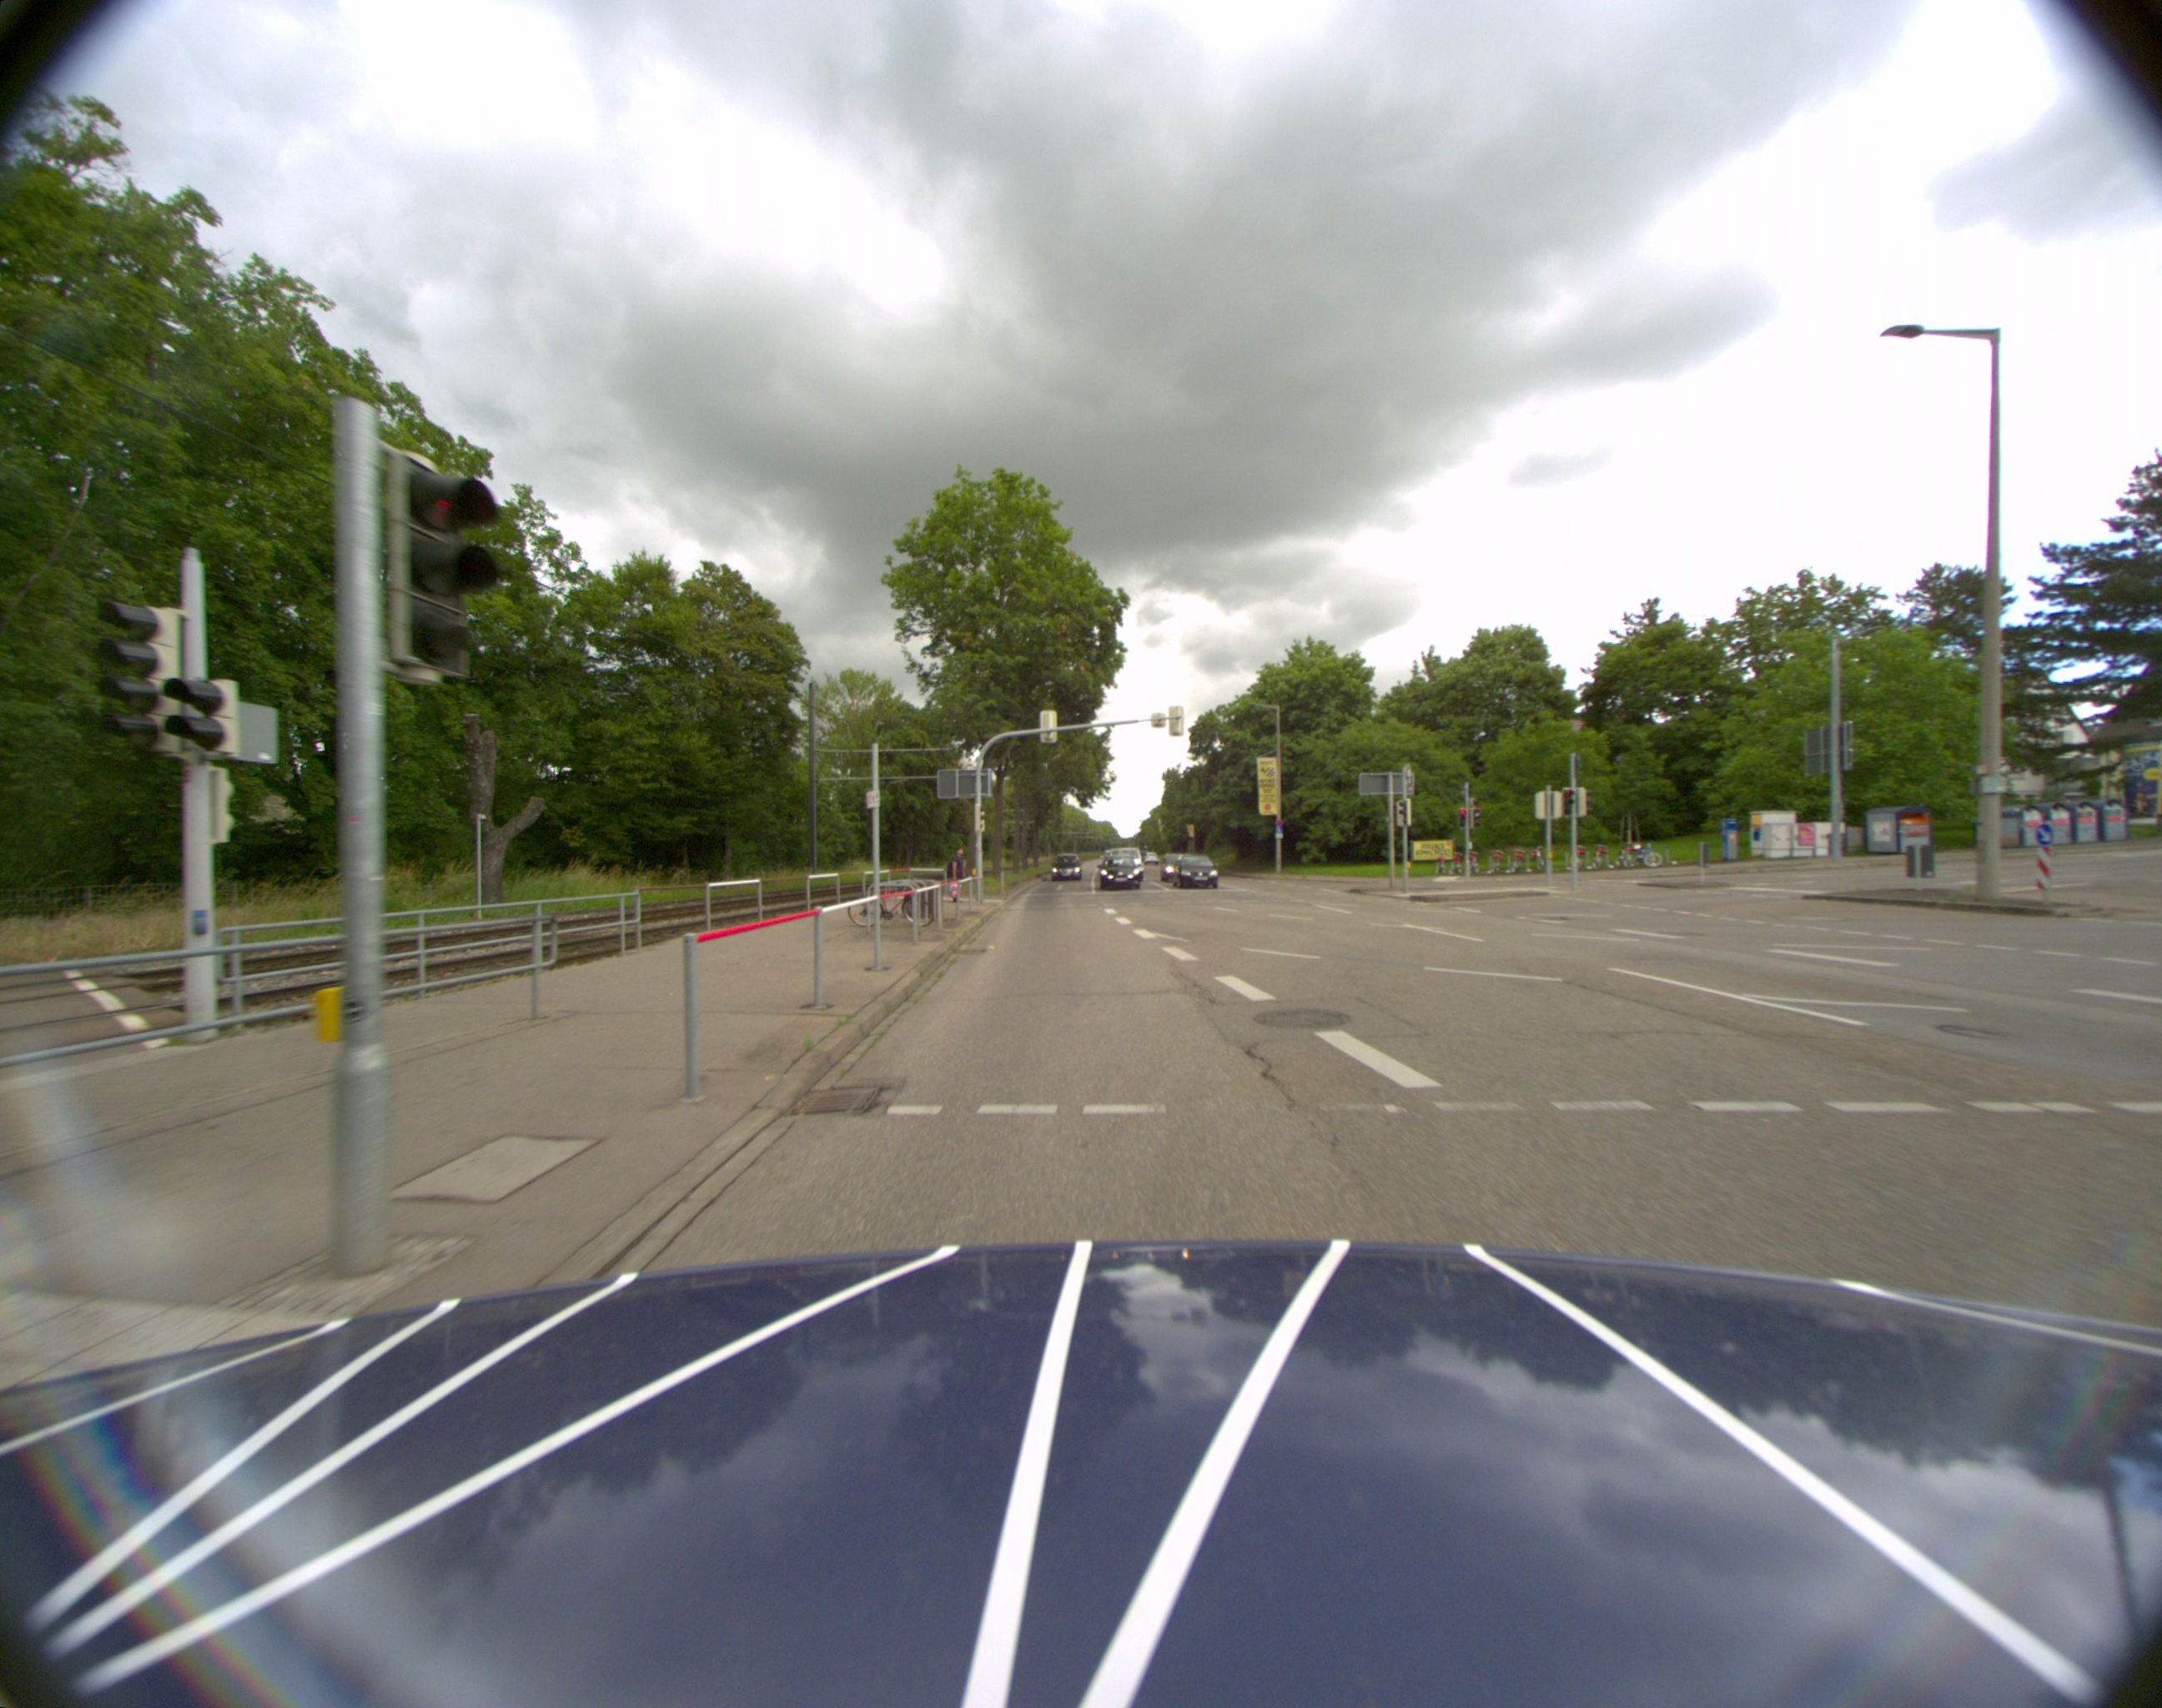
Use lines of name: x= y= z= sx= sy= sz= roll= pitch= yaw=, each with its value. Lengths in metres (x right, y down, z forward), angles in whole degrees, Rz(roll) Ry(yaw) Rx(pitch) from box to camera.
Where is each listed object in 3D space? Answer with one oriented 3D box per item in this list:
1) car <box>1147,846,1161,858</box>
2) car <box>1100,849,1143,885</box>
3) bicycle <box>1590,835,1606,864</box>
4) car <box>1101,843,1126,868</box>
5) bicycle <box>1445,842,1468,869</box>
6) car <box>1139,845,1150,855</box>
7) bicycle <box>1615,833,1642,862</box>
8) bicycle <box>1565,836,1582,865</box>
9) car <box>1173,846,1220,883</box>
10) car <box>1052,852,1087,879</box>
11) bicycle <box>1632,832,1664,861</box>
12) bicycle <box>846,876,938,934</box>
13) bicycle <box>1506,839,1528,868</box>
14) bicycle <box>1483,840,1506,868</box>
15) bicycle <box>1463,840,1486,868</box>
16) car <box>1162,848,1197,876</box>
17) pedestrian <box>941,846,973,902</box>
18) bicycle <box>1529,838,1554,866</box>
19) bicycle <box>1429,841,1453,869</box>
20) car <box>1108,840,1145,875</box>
car: x=9.883 y=-0.328 z=102.343 sx=1.743 sy=1.530 sz=3.912 roll=-2 pitch=1 yaw=7
car: x=1.734 y=0.527 z=33.425 sx=1.708 sy=1.472 sz=3.667 roll=-1 pitch=0 yaw=0
bicycle: x=23.355 y=-0.207 z=34.302 sx=0.544 sy=1.245 sz=1.939 roll=-2 pitch=1 yaw=35
car: x=2.570 y=0.082 z=60.635 sx=1.807 sy=1.784 sz=4.503 roll=-2 pitch=1 yaw=2
bicycle: x=18.375 y=0.044 z=37.127 sx=0.544 sy=1.245 sz=1.939 roll=-2 pitch=1 yaw=39
car: x=10.421 y=-0.619 z=124.930 sx=1.743 sy=1.530 sz=3.911 roll=-2 pitch=1 yaw=5
bicycle: x=24.428 y=-0.292 z=33.928 sx=0.544 sy=1.245 sz=1.938 roll=-2 pitch=1 yaw=24
bicycle: x=22.492 y=-0.187 z=34.686 sx=0.544 sy=1.245 sz=1.939 roll=-2 pitch=1 yaw=35
car: x=4.964 y=0.430 z=32.955 sx=1.560 sy=1.458 sz=3.808 roll=-1 pitch=0 yaw=2
car: x=-0.664 y=0.675 z=46.659 sx=1.807 sy=1.520 sz=3.929 roll=-2 pitch=1 yaw=4
bicycle: x=25.084 y=-0.340 z=33.646 sx=0.544 sy=1.245 sz=1.937 roll=-2 pitch=1 yaw=19
bicycle: x=-3.796 y=1.016 z=15.312 sx=1.679 sy=1.084 sz=0.602 roll=2 pitch=1 yaw=-2
bicycle: x=20.451 y=-0.042 z=35.646 sx=0.544 sy=1.245 sz=1.939 roll=-2 pitch=1 yaw=39
bicycle: x=19.660 y=-0.009 z=36.127 sx=0.544 sy=1.245 sz=1.939 roll=-2 pitch=1 yaw=39
bicycle: x=19.059 y=-0.008 z=36.812 sx=0.544 sy=1.245 sz=1.939 roll=-2 pitch=1 yaw=39
car: x=5.212 y=0.389 z=40.741 sx=1.595 sy=1.459 sz=3.929 roll=0 pitch=1 yaw=4
pedestrian: x=-3.921 y=0.628 z=24.018 sx=0.753 sy=1.727 sz=0.840 roll=1 pitch=1 yaw=6
bicycle: x=21.348 y=-0.118 z=35.227 sx=0.544 sy=1.245 sz=1.937 roll=-2 pitch=1 yaw=19
bicycle: x=17.771 y=0.042 z=37.474 sx=0.544 sy=1.245 sz=1.939 roll=-2 pitch=1 yaw=39
car: x=2.545 y=0.192 z=43.709 sx=1.911 sy=1.832 sz=5.282 roll=-1 pitch=0 yaw=2
